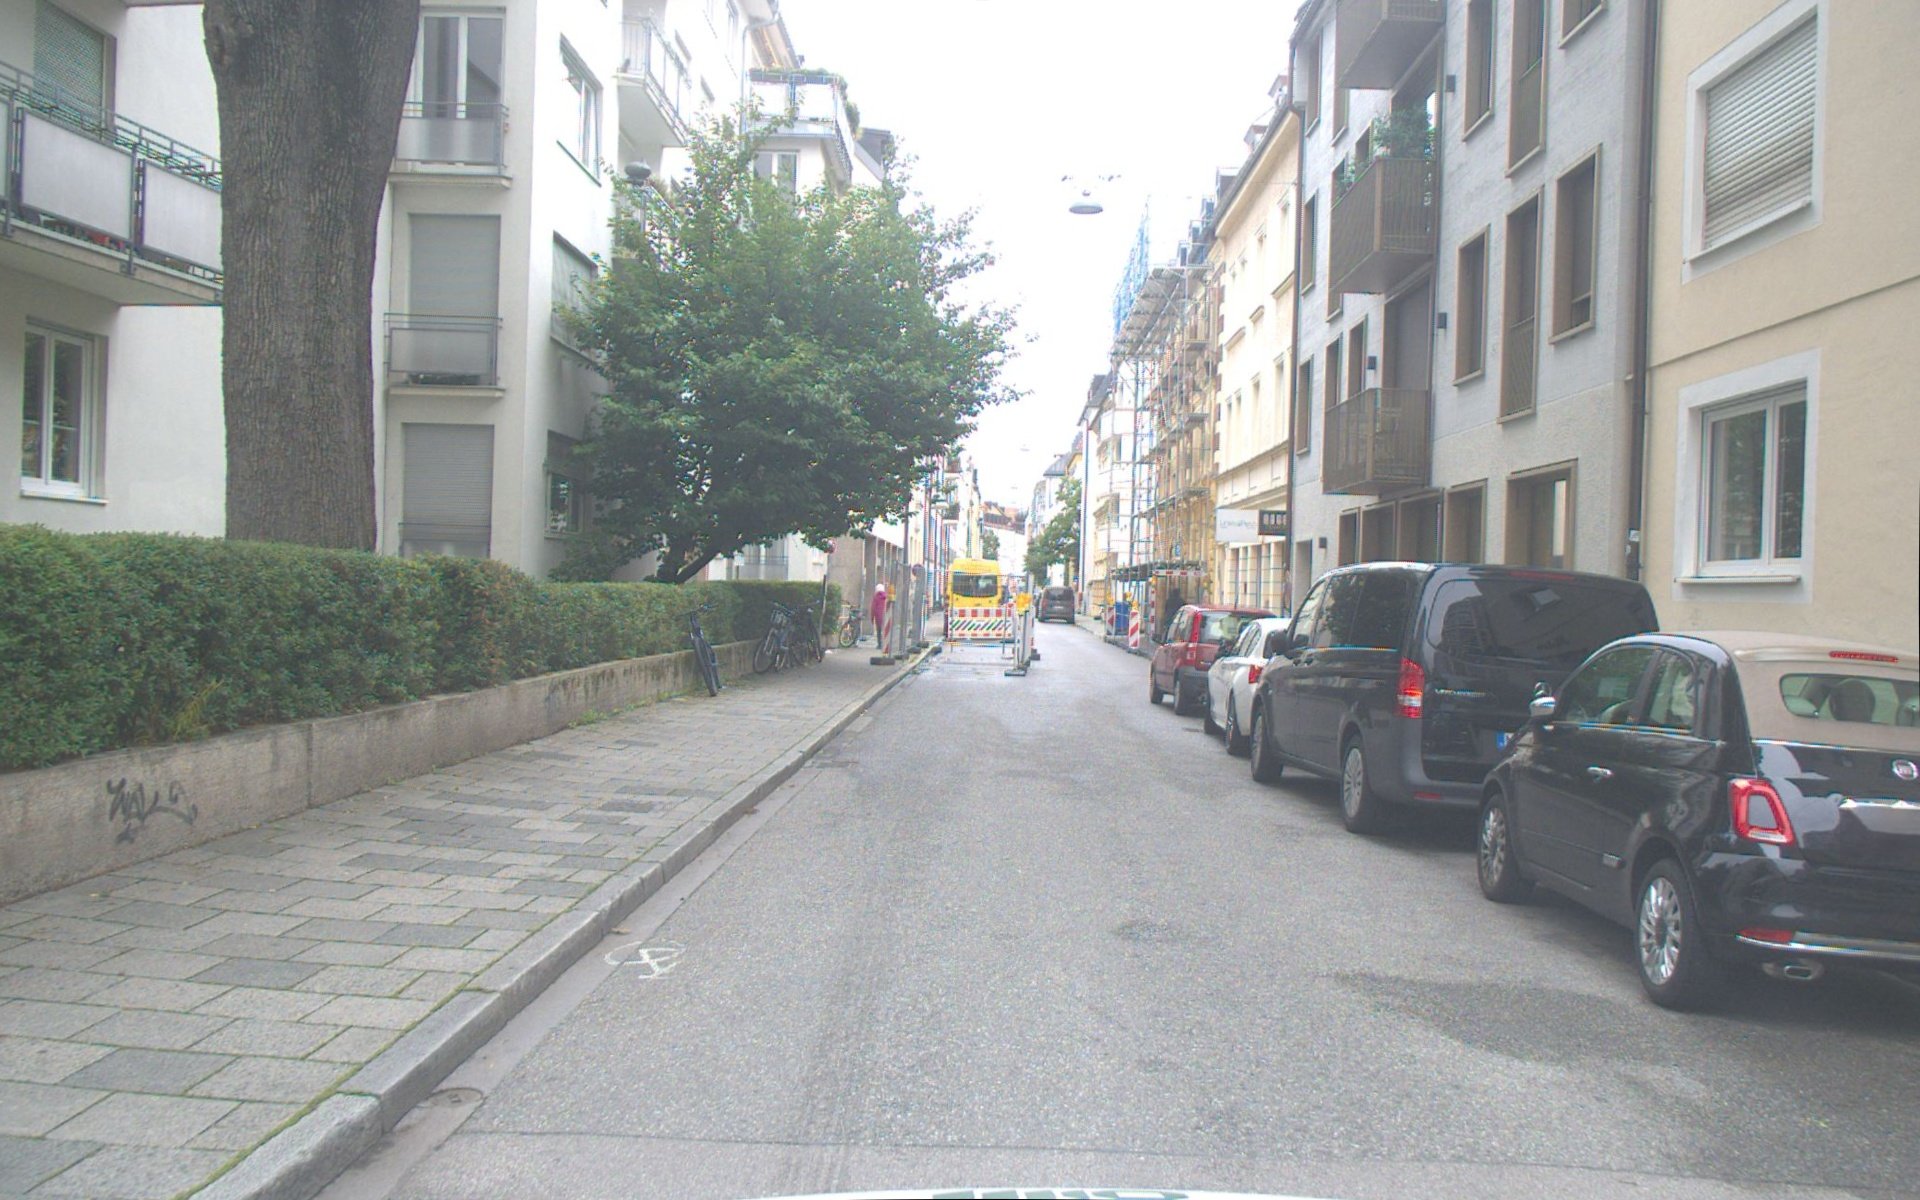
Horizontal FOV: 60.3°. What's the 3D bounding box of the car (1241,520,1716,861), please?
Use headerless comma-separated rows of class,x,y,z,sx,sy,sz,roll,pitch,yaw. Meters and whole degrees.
car,3.649,0.546,12.742,1.950,2.011,4.884,3,0,-1

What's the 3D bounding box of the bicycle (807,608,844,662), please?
bicycle,-2.600,0.669,32.109,0.434,0.995,1.816,4,-1,3

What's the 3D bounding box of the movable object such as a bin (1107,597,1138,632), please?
movable object such as a bin,6.664,0.592,67.970,1.063,1.370,1.318,-2,0,13

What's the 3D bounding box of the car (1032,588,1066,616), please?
car,5.387,0.100,100.409,1.855,1.670,4.322,1,0,0

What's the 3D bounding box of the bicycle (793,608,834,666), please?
bicycle,-2.668,0.666,30.244,0.434,0.995,1.854,4,-1,3

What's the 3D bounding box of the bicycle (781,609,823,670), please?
bicycle,-2.725,0.667,28.683,0.427,0.995,1.699,4,-1,3

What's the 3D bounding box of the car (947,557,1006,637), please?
car,0.587,-0.111,58.438,1.952,2.624,6.737,1,0,1

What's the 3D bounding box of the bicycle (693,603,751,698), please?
bicycle,-2.971,0.609,20.762,0.339,1.090,1.780,5,0,1

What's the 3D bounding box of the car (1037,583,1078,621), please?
car,5.302,0.079,90.398,1.953,1.965,4.660,3,0,0

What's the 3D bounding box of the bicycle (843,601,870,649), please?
bicycle,-2.497,0.601,40.051,0.369,1.081,1.598,7,1,2

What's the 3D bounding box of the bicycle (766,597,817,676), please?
bicycle,-2.661,0.570,26.215,0.478,1.171,1.699,4,-1,3

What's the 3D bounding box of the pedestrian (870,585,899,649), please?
pedestrian,-1.847,0.404,40.482,0.624,1.559,0.747,0,0,3

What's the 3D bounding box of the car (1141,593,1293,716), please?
car,3.693,0.727,24.372,1.735,1.550,4.068,3,0,3

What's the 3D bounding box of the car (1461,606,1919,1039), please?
car,3.683,0.841,7.761,1.601,1.497,3.538,3,0,1

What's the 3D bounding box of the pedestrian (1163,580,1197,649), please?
pedestrian,5.828,0.390,43.915,0.714,1.783,0.988,-2,0,0

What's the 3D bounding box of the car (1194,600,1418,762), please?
car,3.750,0.801,18.638,1.731,1.486,4.382,3,0,3

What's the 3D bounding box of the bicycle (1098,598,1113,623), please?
bicycle,7.361,0.536,83.478,0.625,1.173,1.916,-1,1,2
